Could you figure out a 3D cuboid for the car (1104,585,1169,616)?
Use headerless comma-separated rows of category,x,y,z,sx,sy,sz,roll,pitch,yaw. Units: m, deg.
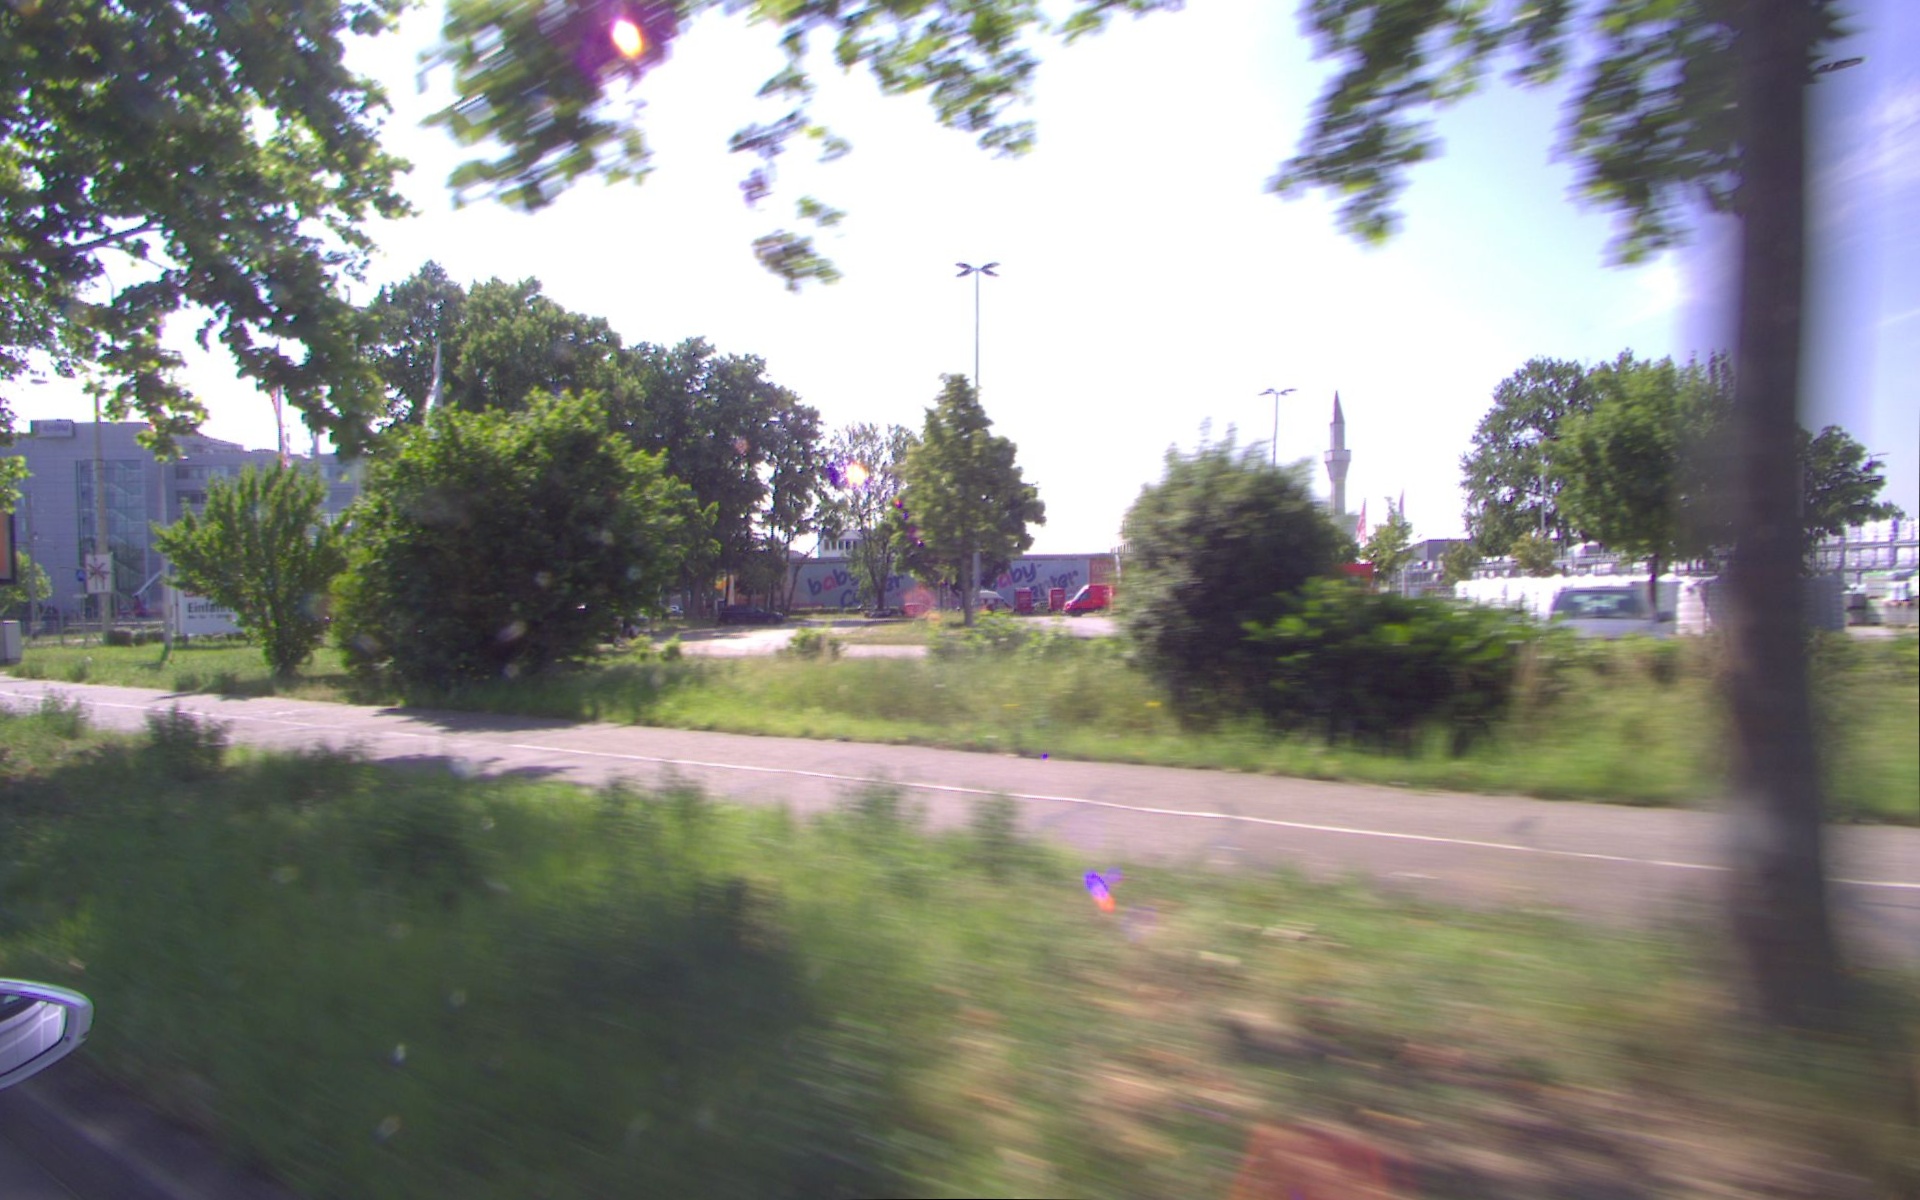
car,13.626,0.021,77.408,4.713,2.279,2.000,-1,0,5

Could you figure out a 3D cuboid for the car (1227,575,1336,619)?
car,19.705,-0.173,61.422,6.059,2.598,1.999,-1,0,-4

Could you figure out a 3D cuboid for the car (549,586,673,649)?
car,-11.834,0.573,34.215,3.725,2.040,1.998,-1,0,-11

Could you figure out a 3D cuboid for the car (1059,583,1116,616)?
car,10.527,-0.001,83.000,4.317,2.632,1.999,-1,0,-5
